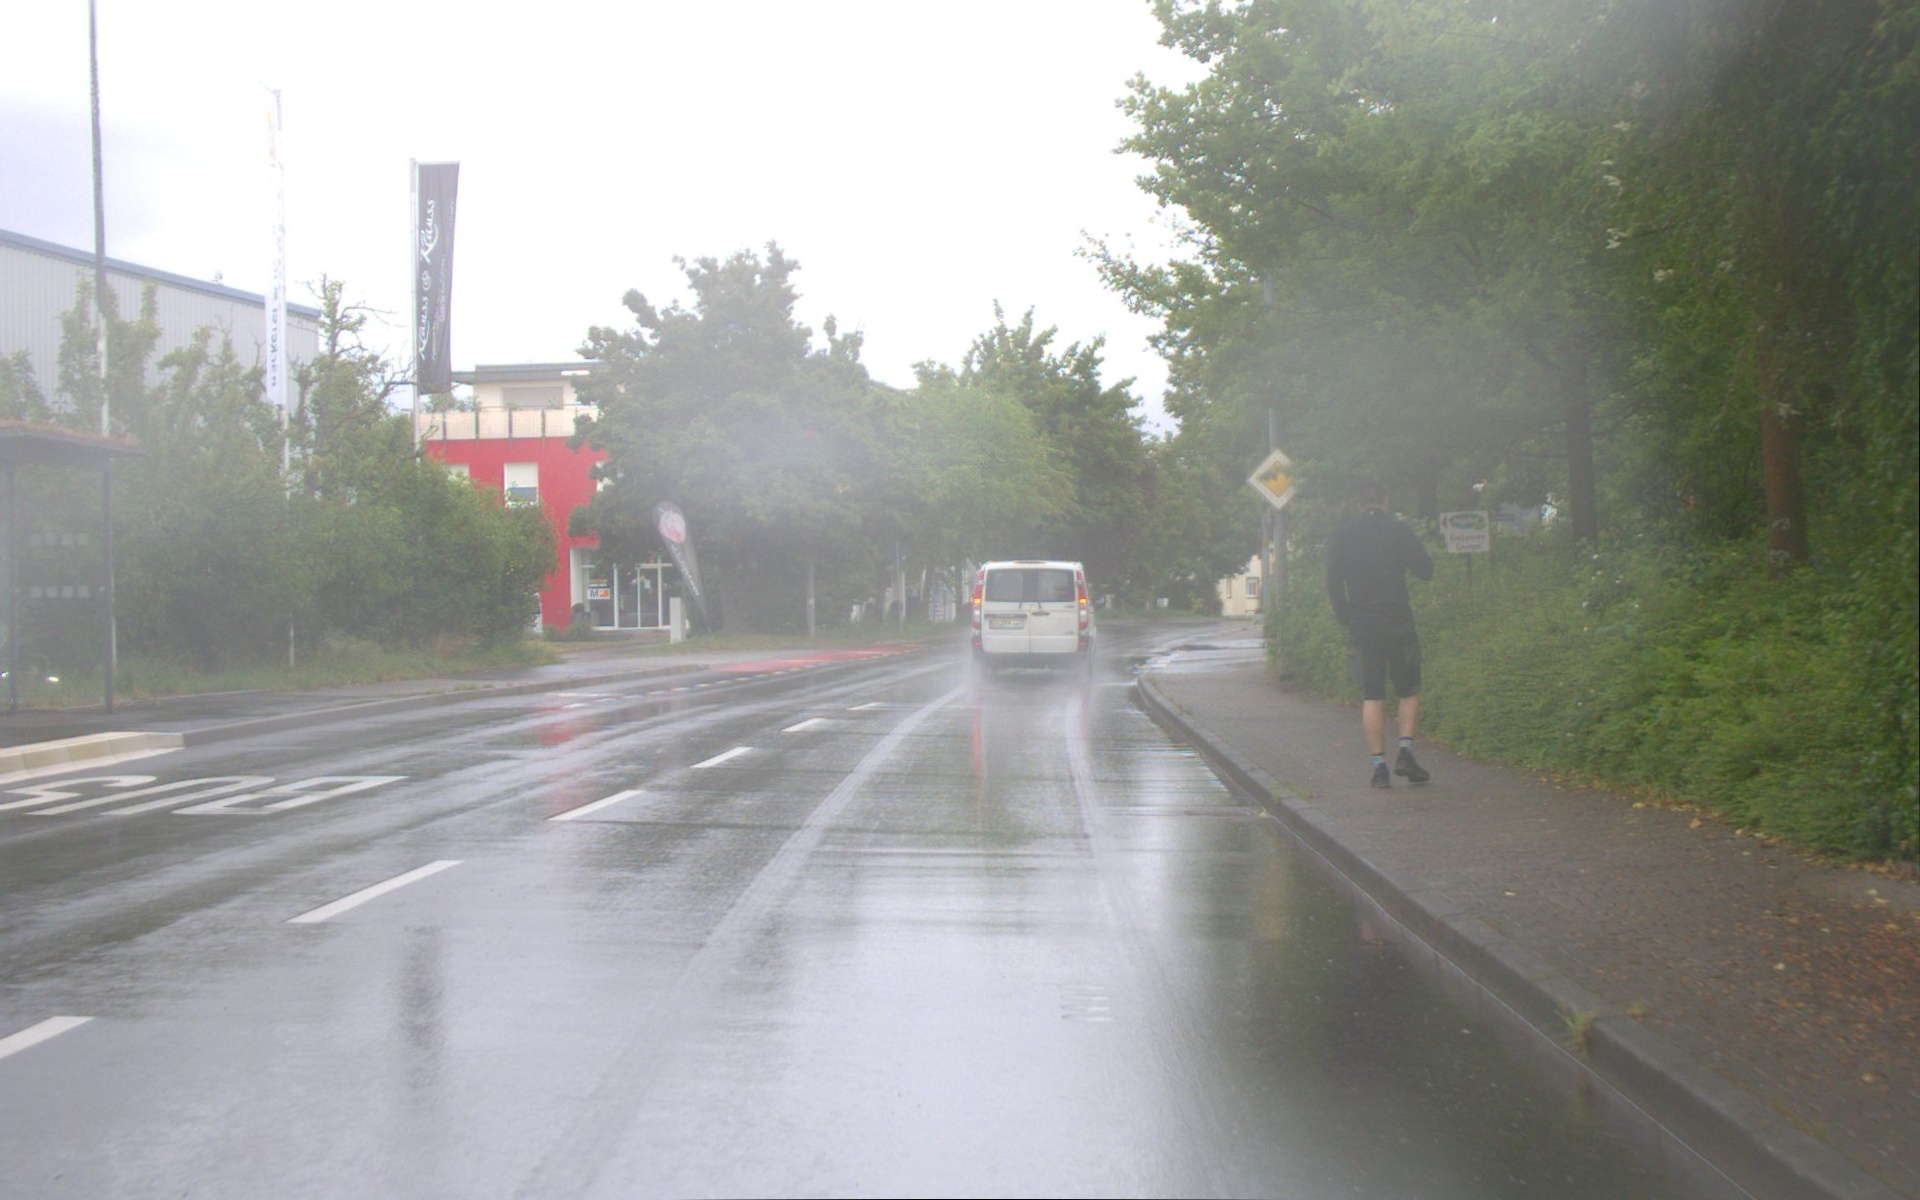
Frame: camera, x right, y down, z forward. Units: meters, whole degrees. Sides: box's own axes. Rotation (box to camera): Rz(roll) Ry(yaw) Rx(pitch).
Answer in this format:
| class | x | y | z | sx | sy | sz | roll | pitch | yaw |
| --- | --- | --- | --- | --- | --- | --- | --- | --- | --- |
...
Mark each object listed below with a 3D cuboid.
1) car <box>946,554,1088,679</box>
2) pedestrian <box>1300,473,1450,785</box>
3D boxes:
| class | x | y | z | sx | sy | sz | roll | pitch | yaw |
| --- | --- | --- | --- | --- | --- | --- | --- | --- | --- |
| car | 0.948 | 0.213 | 54.489 | 2.117 | 1.881 | 4.502 | 0 | 1 | 2 |
| pedestrian | 2.508 | 0.169 | 20.856 | 0.745 | 1.831 | 0.890 | -2 | 1 | 0 |
